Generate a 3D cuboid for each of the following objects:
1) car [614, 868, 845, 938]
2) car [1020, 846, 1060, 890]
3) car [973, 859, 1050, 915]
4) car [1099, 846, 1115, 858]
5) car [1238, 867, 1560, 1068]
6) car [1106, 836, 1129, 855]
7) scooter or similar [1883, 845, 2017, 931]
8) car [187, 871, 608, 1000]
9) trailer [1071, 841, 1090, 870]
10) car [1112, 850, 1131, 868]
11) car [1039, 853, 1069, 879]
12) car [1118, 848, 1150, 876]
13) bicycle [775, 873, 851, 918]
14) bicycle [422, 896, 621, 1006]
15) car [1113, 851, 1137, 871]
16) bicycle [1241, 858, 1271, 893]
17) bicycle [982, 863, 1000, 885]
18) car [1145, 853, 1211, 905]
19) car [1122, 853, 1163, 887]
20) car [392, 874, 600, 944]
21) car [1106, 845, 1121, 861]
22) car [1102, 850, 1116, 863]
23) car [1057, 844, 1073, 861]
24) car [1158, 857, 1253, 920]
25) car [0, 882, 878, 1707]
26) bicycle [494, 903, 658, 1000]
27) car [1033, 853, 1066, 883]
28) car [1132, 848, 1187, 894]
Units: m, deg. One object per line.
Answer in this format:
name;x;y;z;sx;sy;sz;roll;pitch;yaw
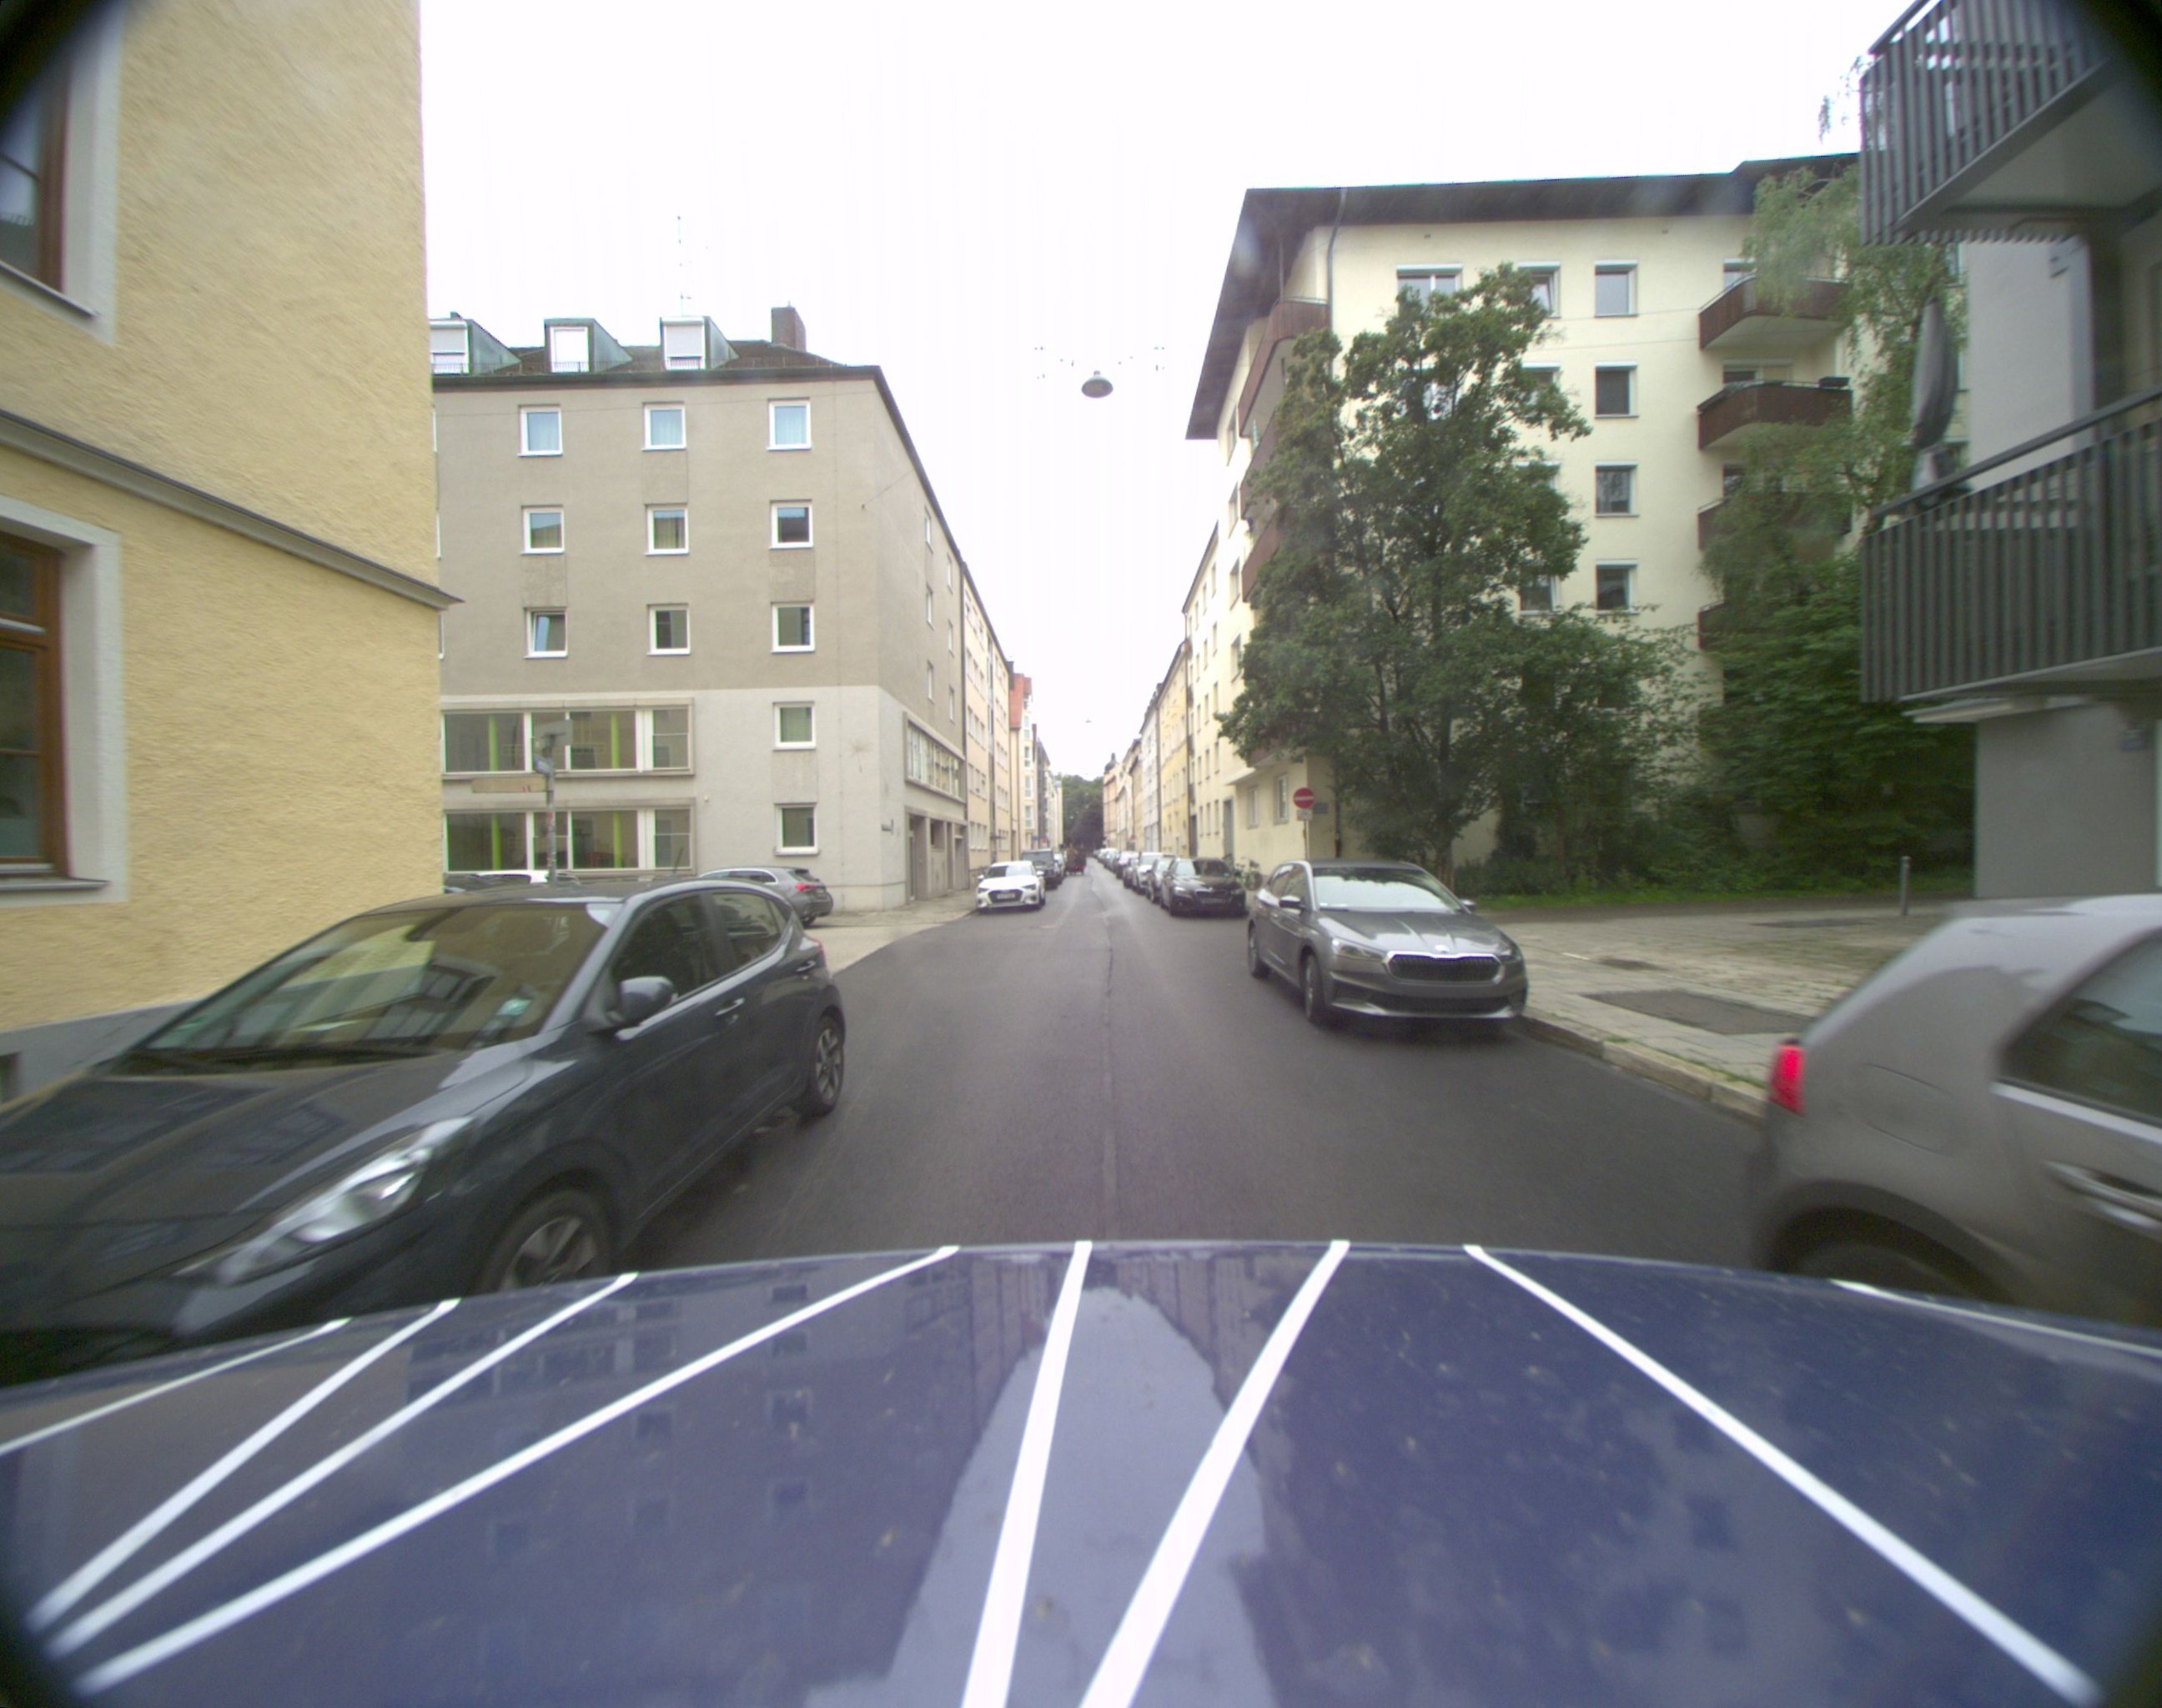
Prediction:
car;-7.698;1.044;16.983;4.215;1.391;2.000;-1;-1;-2
car;-1.991;0.670;37.952;1.755;1.964;4.342;-4;0;-1
car;-1.984;0.915;22.754;1.823;1.400;3.952;-2;0;1
car;3.518;-0.316;102.409;1.786;1.596;4.307;1;0;-3
car;2.799;0.890;7.697;1.697;1.434;3.942;0;0;2
car;3.469;-0.817;73.505;1.867;1.760;4.734;1;1;-1
scooter or similar;12.891;0.474;11.330;0.321;1.195;1.571;-1;0;5
car;-9.280;1.060;10.600;4.223;1.485;1.711;-1;1;-1
trailer;-0.014;0.094;57.192;1.358;2.104;3.317;-2;1;1
car;3.367;0.388;63.813;1.566;1.452;3.404;0;1;2
car;-1.690;0.721;48.237;1.716;1.477;4.243;-2;1;-1
car;3.293;0.437;47.840;1.883;1.650;4.414;0;1;2
bicycle;-7.140;1.104;20.288;1.801;1.109;0.465;-2;1;0
bicycle;-6.216;1.065;8.491;1.813;1.167;0.505;0;-1;-1
car;3.315;0.488;57.288;1.567;1.452;3.763;0;1;-1
bicycle;6.043;0.728;26.319;0.646;1.155;1.789;1;1;1
bicycle;-4.579;1.021;38.867;0.646;1.023;1.796;2;1;0
car;3.069;0.752;24.823;1.770;1.475;4.423;0;1;2
car;2.848;0.720;35.797;1.656;1.427;3.802;0;1;1
car;-12.827;1.214;16.813;3.353;1.426;1.568;-1;-4;0
car;3.739;-0.128;87.817;1.728;1.779;4.248;1;2;2
car;3.414;0.316;92.909;1.676;1.467;4.111;1;1;1
car;-2.087;-0.193;98.949;1.878;2.002;5.105;-2;1;0
car;3.066;0.807;19.554;1.860;1.400;4.383;0;0;2
car;-2.418;0.993;3.442;1.755;1.460;4.342;-4;0;0
bicycle;-6.070;1.162;9.160;1.717;1.132;0.374;0;-1;0
car;-1.742;0.763;42.883;1.716;1.477;4.243;-2;1;-1
car;3.054;0.610;30.308;1.770;1.666;4.366;0;1;0
